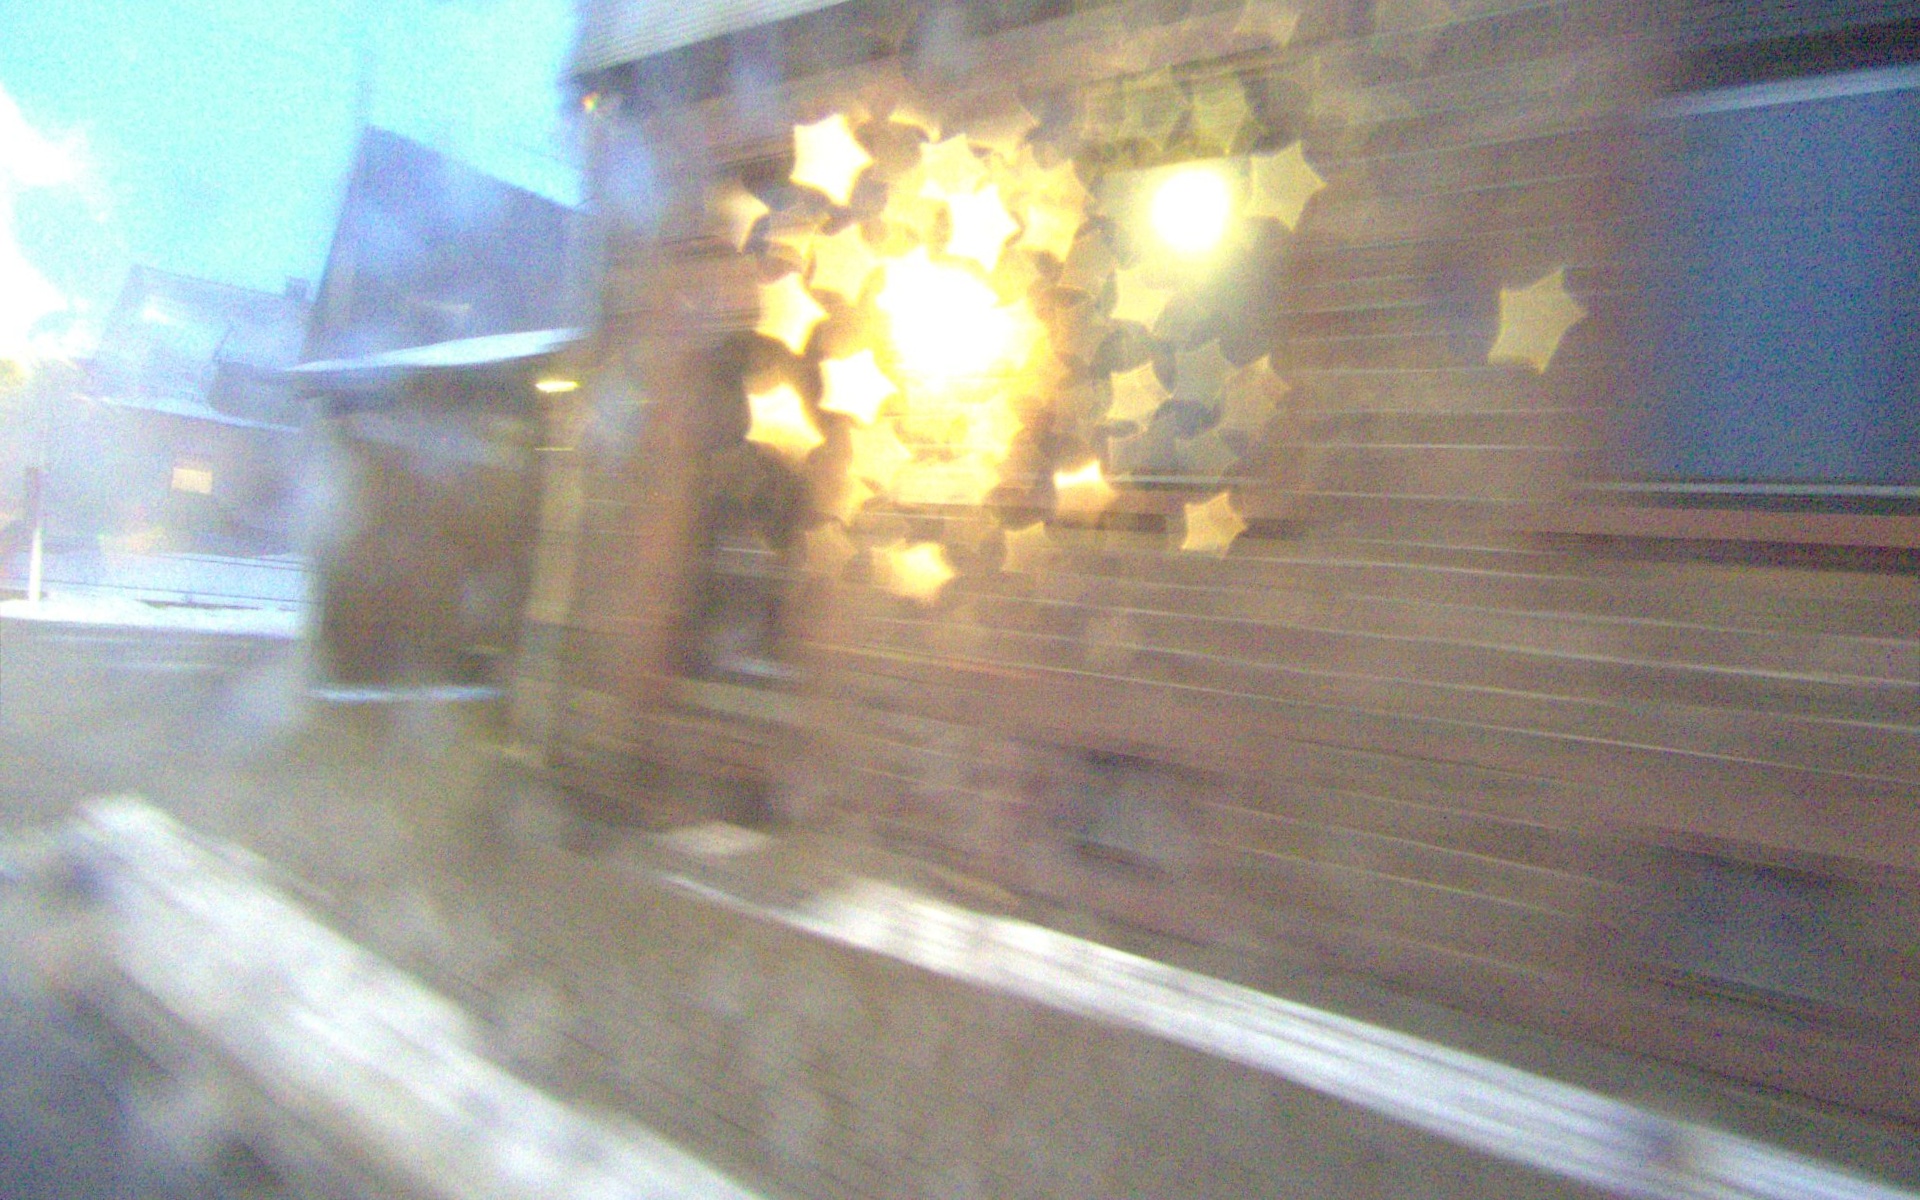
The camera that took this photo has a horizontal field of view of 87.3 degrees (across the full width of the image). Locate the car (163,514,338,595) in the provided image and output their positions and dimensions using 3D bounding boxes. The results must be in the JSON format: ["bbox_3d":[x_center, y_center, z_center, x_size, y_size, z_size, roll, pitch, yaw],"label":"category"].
[{"bbox_3d":[-20.973,-1.302,29.961,3.965,1.613,1.895,11,-3,-33],"label":"car"}]
